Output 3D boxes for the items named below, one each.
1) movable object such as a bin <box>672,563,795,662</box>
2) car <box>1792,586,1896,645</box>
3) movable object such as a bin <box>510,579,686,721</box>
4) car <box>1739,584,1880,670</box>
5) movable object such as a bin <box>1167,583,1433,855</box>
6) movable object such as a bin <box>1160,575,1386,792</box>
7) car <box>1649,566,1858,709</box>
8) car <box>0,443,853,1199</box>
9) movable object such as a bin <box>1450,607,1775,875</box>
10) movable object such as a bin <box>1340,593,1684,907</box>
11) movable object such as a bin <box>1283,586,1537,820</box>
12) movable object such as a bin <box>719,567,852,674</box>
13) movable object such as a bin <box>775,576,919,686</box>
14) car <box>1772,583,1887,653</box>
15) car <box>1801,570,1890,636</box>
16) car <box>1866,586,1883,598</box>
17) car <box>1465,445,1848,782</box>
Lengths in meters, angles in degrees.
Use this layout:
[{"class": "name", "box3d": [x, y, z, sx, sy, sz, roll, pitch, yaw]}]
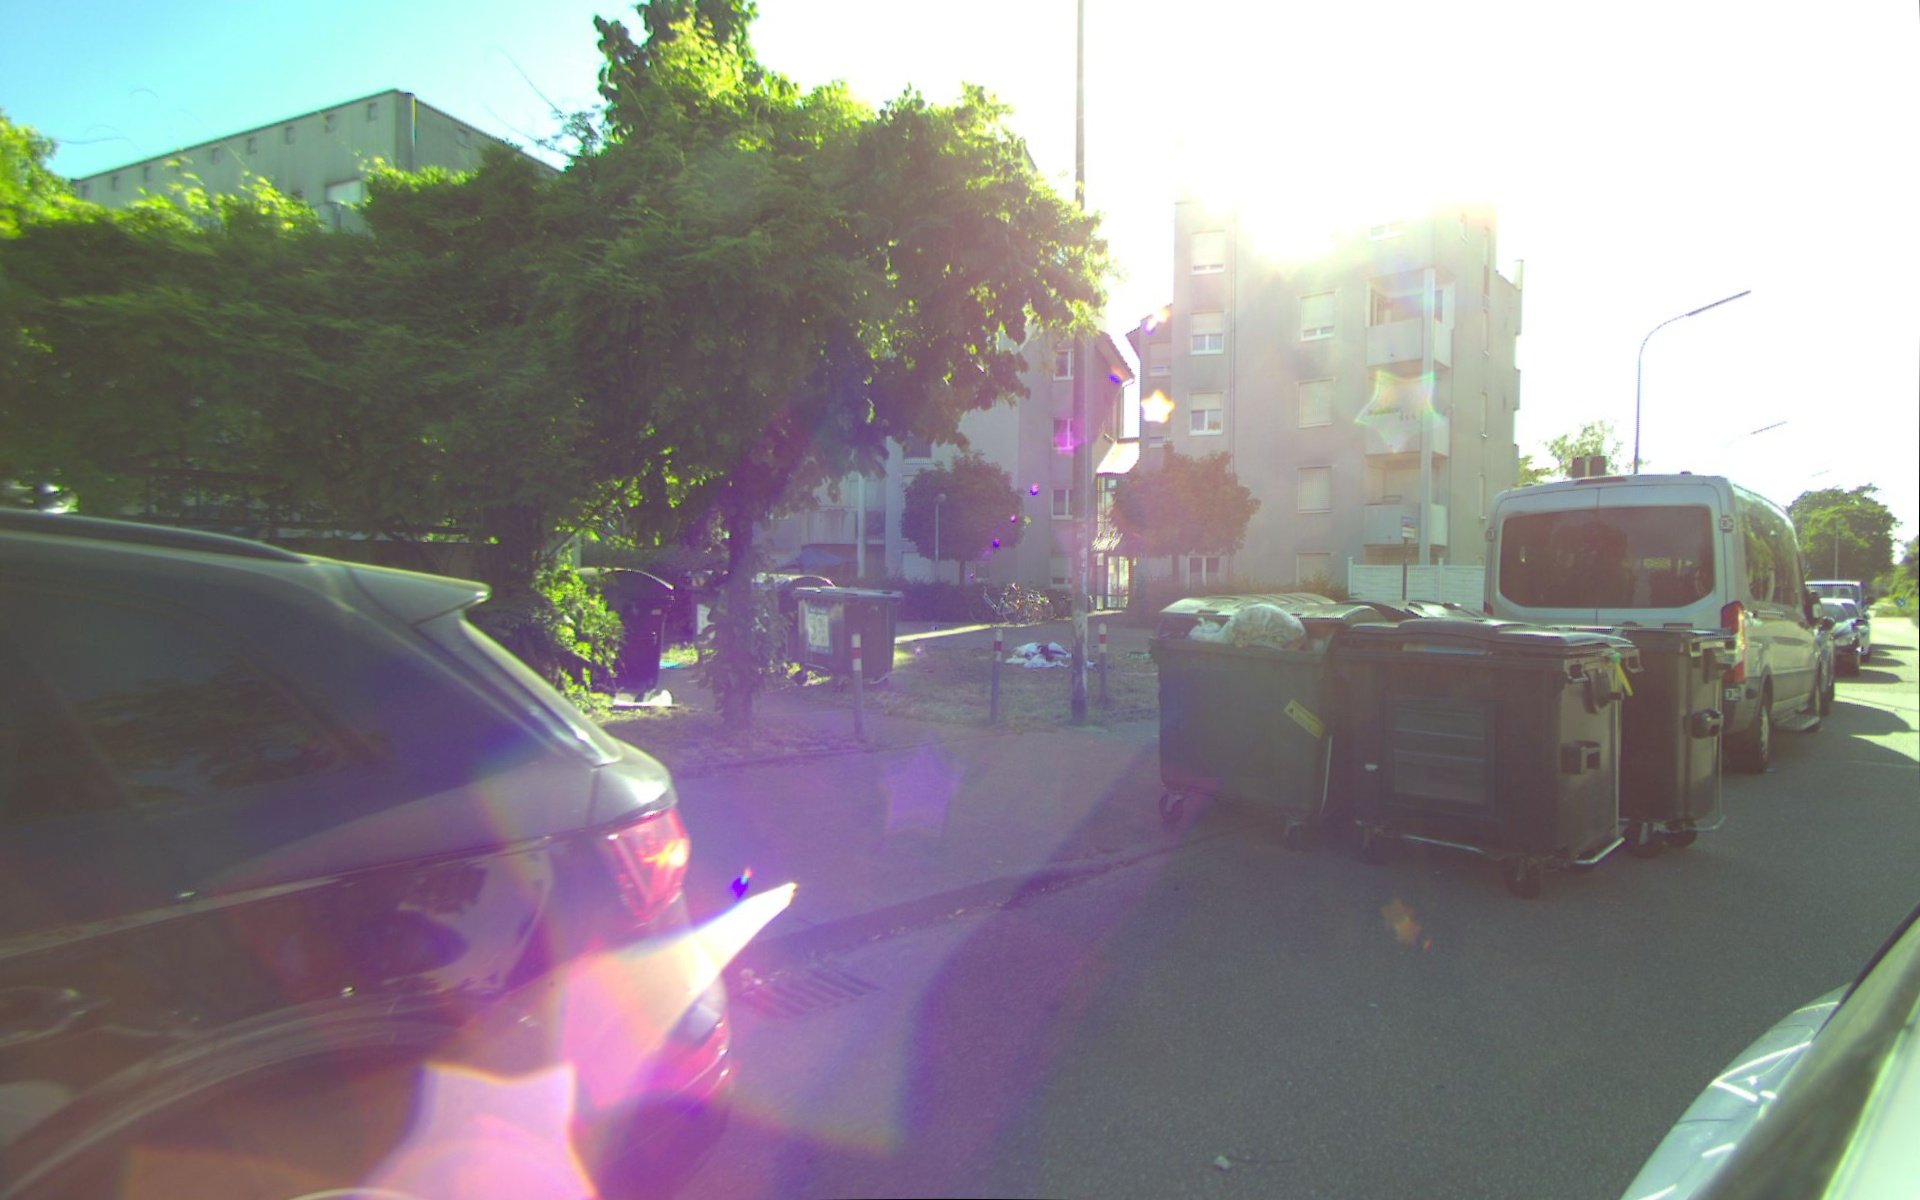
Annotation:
[{"class": "movable object such as a bin", "box3d": [-3.511, 0.160, 15.617, 1.357, 1.390, 1.431, 0, 3, -38]}, {"class": "car", "box3d": [24.475, 0.371, 28.122, 1.991, 1.434, 4.852, 2, 2, 40]}, {"class": "movable object such as a bin", "box3d": [-3.823, 0.460, 10.654, 1.357, 1.321, 1.416, 0, 2, -38]}, {"class": "car", "box3d": [17.173, 0.443, 20.385, 1.910, 1.507, 4.307, 2, 2, 43]}, {"class": "movable object such as a bin", "box3d": [2.116, 0.648, 6.335, 1.148, 1.466, 1.095, -2, 1, -36]}, {"class": "movable object such as a bin", "box3d": [2.447, 0.571, 7.936, 1.392, 1.465, 1.045, -2, 4, -36]}, {"class": "car", "box3d": [11.236, 0.399, 14.219, 1.910, 1.687, 4.307, 2, 2, 43]}, {"class": "car", "box3d": [-2.453, 0.655, 1.298, 4.384, 1.685, 1.813, 0, 0, -41]}, {"class": "movable object such as a bin", "box3d": [3.906, 0.755, 6.115, 1.100, 1.330, 1.274, 2, 1, -34]}, {"class": "movable object such as a bin", "box3d": [2.953, 0.683, 5.477, 1.148, 1.414, 1.232, 0, 1, -34]}, {"class": "movable object such as a bin", "box3d": [3.135, 0.637, 7.072, 1.334, 1.438, 1.111, 1, -1, -36]}, {"class": "movable object such as a bin", "box3d": [-2.519, 0.257, 14.532, 1.357, 1.390, 1.431, 0, 3, -38]}, {"class": "movable object such as a bin", "box3d": [-1.518, 0.368, 13.485, 1.357, 1.321, 1.416, 0, 2, -38]}, {"class": "car", "box3d": [21.188, 0.368, 24.590, 1.910, 1.507, 4.307, 2, 2, 43]}, {"class": "car", "box3d": [28.280, 0.035, 32.331, 1.992, 1.936, 4.879, 2, 2, 42]}, {"class": "car", "box3d": [149.411, -1.302, 165.380, 1.993, 1.838, 3.939, 2, 2, 42]}, {"class": "car", "box3d": [7.336, 0.066, 10.324, 5.759, 2.517, 2.106, -1, 0, -44]}]
